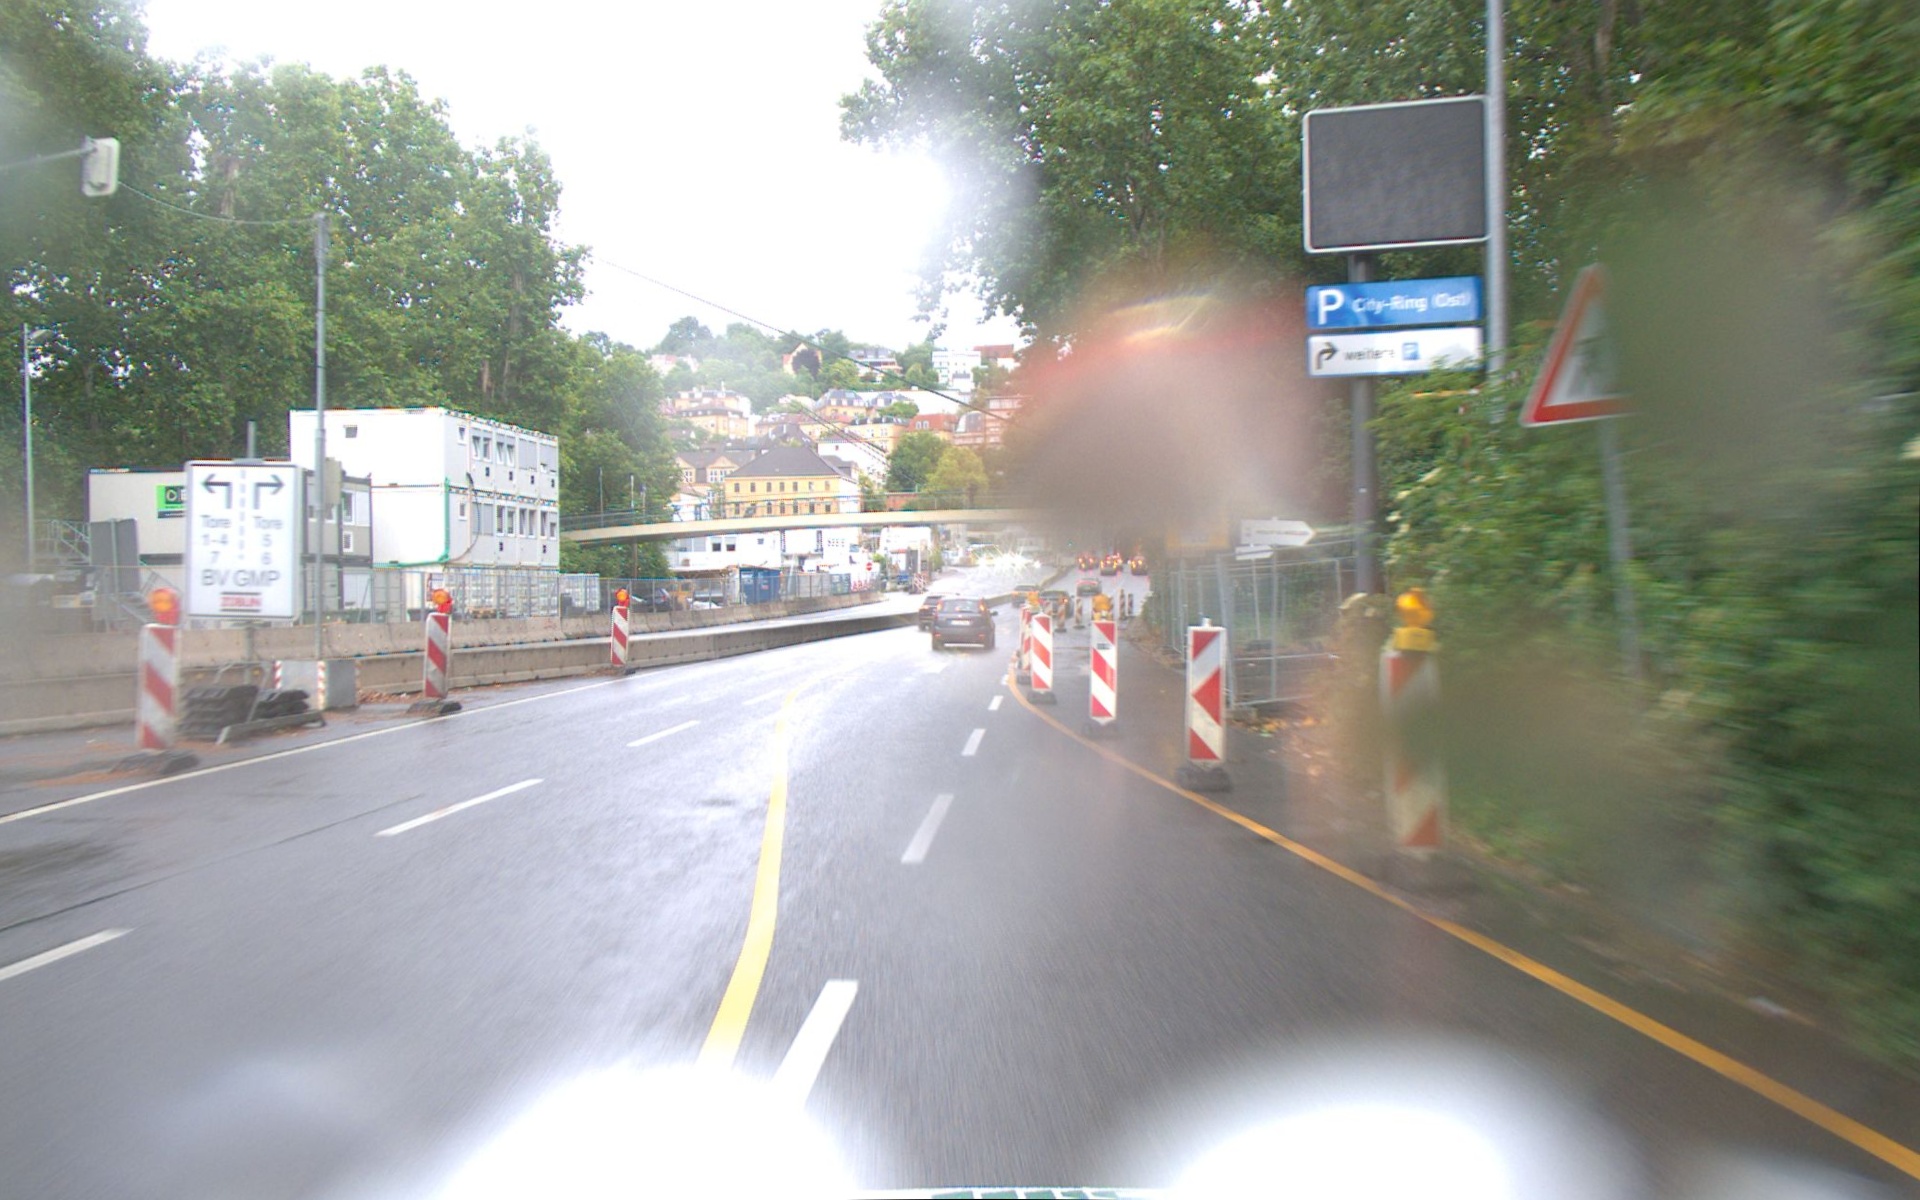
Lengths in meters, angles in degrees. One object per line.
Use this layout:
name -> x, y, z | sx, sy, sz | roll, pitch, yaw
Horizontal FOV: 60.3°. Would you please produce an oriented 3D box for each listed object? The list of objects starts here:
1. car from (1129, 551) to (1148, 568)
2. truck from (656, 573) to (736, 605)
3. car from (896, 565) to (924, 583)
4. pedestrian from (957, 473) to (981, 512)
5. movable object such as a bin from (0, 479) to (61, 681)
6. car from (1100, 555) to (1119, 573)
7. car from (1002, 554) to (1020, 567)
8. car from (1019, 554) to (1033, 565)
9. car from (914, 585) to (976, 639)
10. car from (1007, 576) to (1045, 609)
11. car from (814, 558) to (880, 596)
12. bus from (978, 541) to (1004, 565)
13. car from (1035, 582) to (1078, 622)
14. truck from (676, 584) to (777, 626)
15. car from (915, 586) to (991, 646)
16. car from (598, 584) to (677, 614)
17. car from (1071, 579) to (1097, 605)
car -> 19.912, -4.566, 185.029 | 1.951, 1.728, 4.002 | -2, 0, 4
truck -> -18.533, -0.775, 116.341 | 5.138, 2.049, 2.164 | -1, 1, 2
car -> -4.897, -2.566, 161.860 | 1.951, 1.650, 4.005 | -1, 3, 10
pedestrian -> 0.521, -6.095, 93.996 | 1.123, 2.096, 1.060 | -1, 0, 14
movable object such as a bin -> -25.667, -0.424, 38.237 | 4.649, 4.887, 8.364 | -1, 0, 5
car -> 16.404, -3.960, 181.696 | 1.951, 1.902, 4.002 | -1, 0, 5
car -> 6.934, -5.333, 223.193 | 2.037, 1.659, 4.857 | -1, 1, 5
car -> 9.592, -5.814, 239.312 | 1.673, 1.515, 3.453 | -1, 0, 8
car -> -0.570, 0.465, 67.205 | 1.974, 2.049, 4.003 | -1, 0, 6
car -> 4.240, -0.486, 106.283 | 1.951, 2.049, 4.003 | -1, 0, 9
car -> -8.904, -1.829, 130.677 | 1.958, 2.925, 6.035 | -2, 0, 33
bus -> 4.361, -6.521, 230.783 | 2.746, 3.240, 8.814 | -1, 1, 6
car -> 5.248, 0.093, 89.568 | 2.060, 2.086, 4.003 | -1, 0, 6
truck -> -15.213, 0.322, 107.932 | 6.149, 2.495, 2.694 | -1, 0, -1
car -> -0.240, 0.421, 45.796 | 1.777, 1.553, 3.996 | -2, 0, -5
car -> -19.191, -0.090, 98.530 | 4.334, 1.656, 1.958 | -2, 0, -2
car -> 10.051, -0.667, 133.819 | 2.008, 2.049, 4.003 | -1, 0, 5
